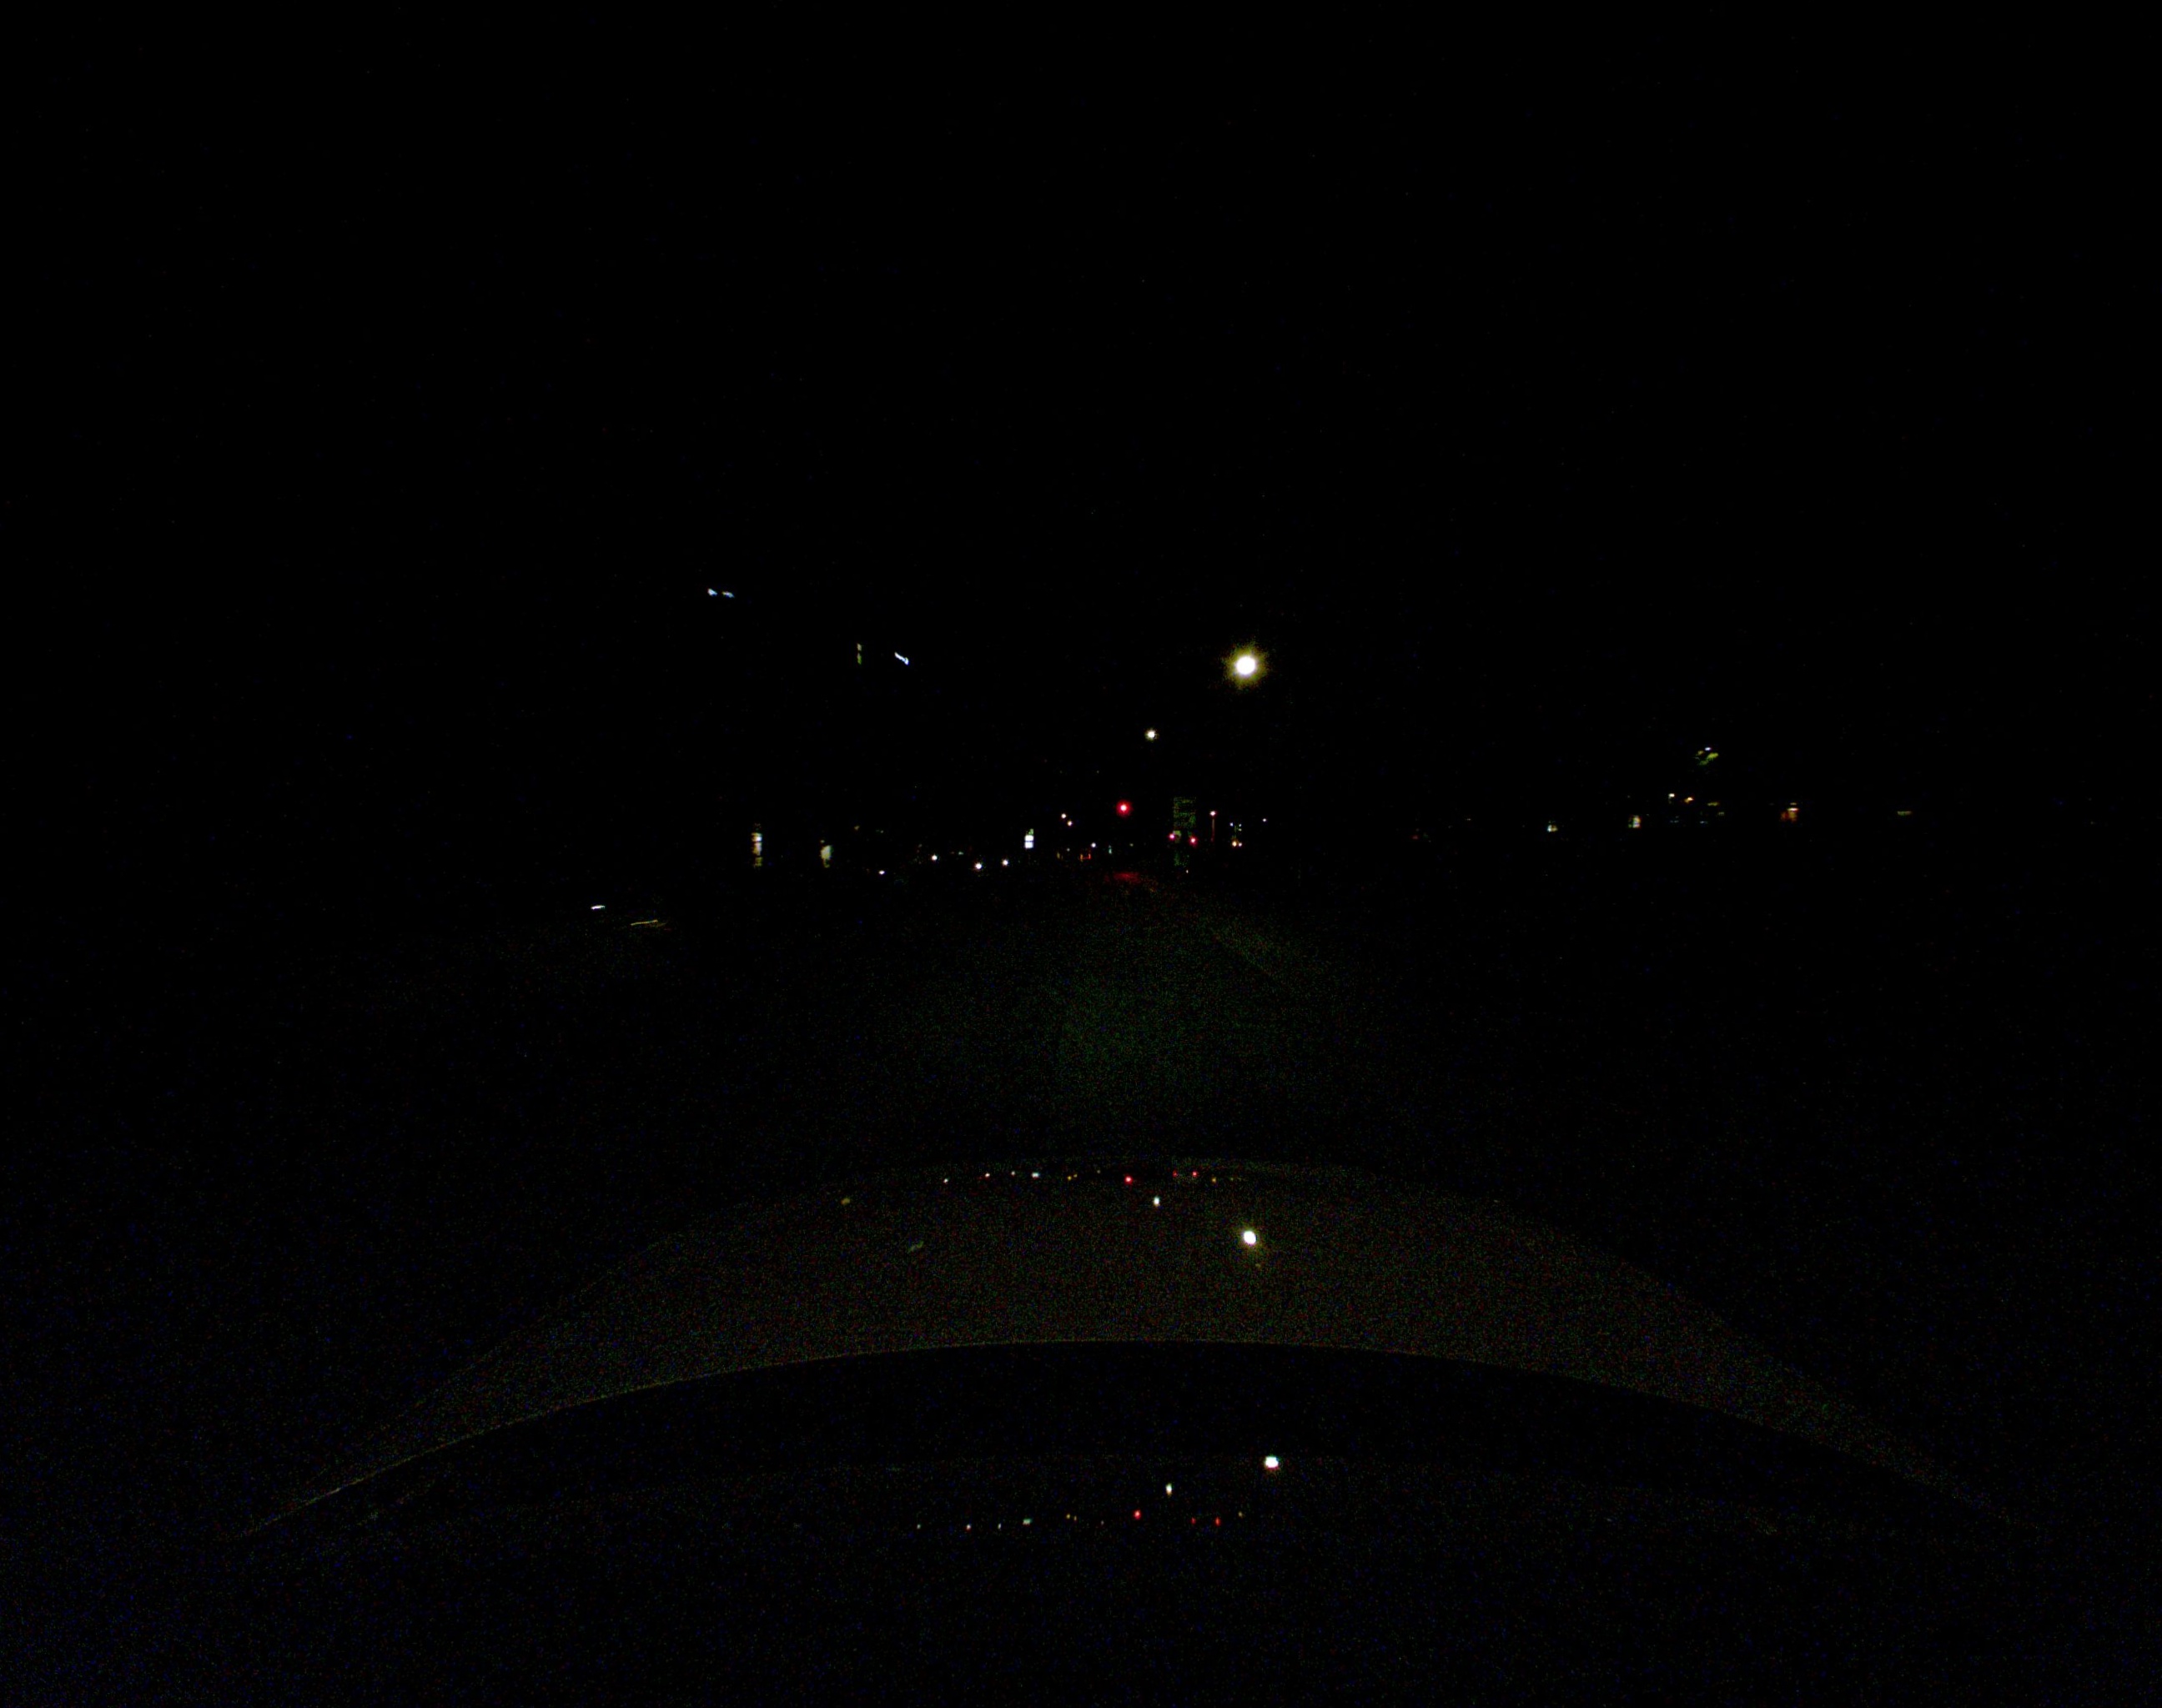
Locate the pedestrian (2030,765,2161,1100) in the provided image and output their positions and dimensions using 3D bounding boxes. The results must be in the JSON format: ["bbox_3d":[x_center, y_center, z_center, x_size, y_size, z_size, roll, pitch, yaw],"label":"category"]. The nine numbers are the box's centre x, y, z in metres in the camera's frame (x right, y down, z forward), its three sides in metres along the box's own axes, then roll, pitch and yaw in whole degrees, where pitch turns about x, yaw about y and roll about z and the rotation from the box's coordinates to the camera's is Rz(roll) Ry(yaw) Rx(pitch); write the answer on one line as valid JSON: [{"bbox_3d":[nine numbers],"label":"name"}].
[{"bbox_3d":[6.237,0.424,4.663,0.568,1.852,0.820,-3,0,2],"label":"pedestrian"}]

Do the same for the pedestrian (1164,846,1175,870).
[{"bbox_3d":[7.603,0.347,70.247,0.738,1.981,0.622,-1,0,-15],"label":"pedestrian"}]

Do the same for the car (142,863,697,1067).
[{"bbox_3d":[-5.951,0.848,8.222,1.904,1.404,4.340,-2,0,2],"label":"car"}]

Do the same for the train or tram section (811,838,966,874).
[{"bbox_3d":[-24.269,0.267,102.673,19.070,3.823,2.929,-2,0,7],"label":"train or tram section"}]

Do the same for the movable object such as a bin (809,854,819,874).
[{"bbox_3d":[-19.459,0.721,59.284,0.354,1.370,0.733,-2,3,3],"label":"movable object such as a bin"}]

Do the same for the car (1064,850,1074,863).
[{"bbox_3d":[-2.831,0.531,190.308,1.989,2.974,3.995,-1,0,-4],"label":"car"}]

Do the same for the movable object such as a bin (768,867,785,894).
[{"bbox_3d":[-15.048,1.323,40.251,0.623,1.307,0.562,-3,0,-37],"label":"movable object such as a bin"}]

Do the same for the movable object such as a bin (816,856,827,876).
[{"bbox_3d":[-19.174,0.897,60.229,0.438,1.451,0.810,-2,1,5],"label":"movable object such as a bin"}]

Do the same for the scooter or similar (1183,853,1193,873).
[{"bbox_3d":[6.903,0.594,52.710,0.492,1.262,1.321,-3,0,3],"label":"scooter or similar"}]

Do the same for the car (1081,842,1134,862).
[{"bbox_3d":[6.523,-0.579,202.927,12.396,4.709,4.789,-1,0,-13],"label":"car"}]
